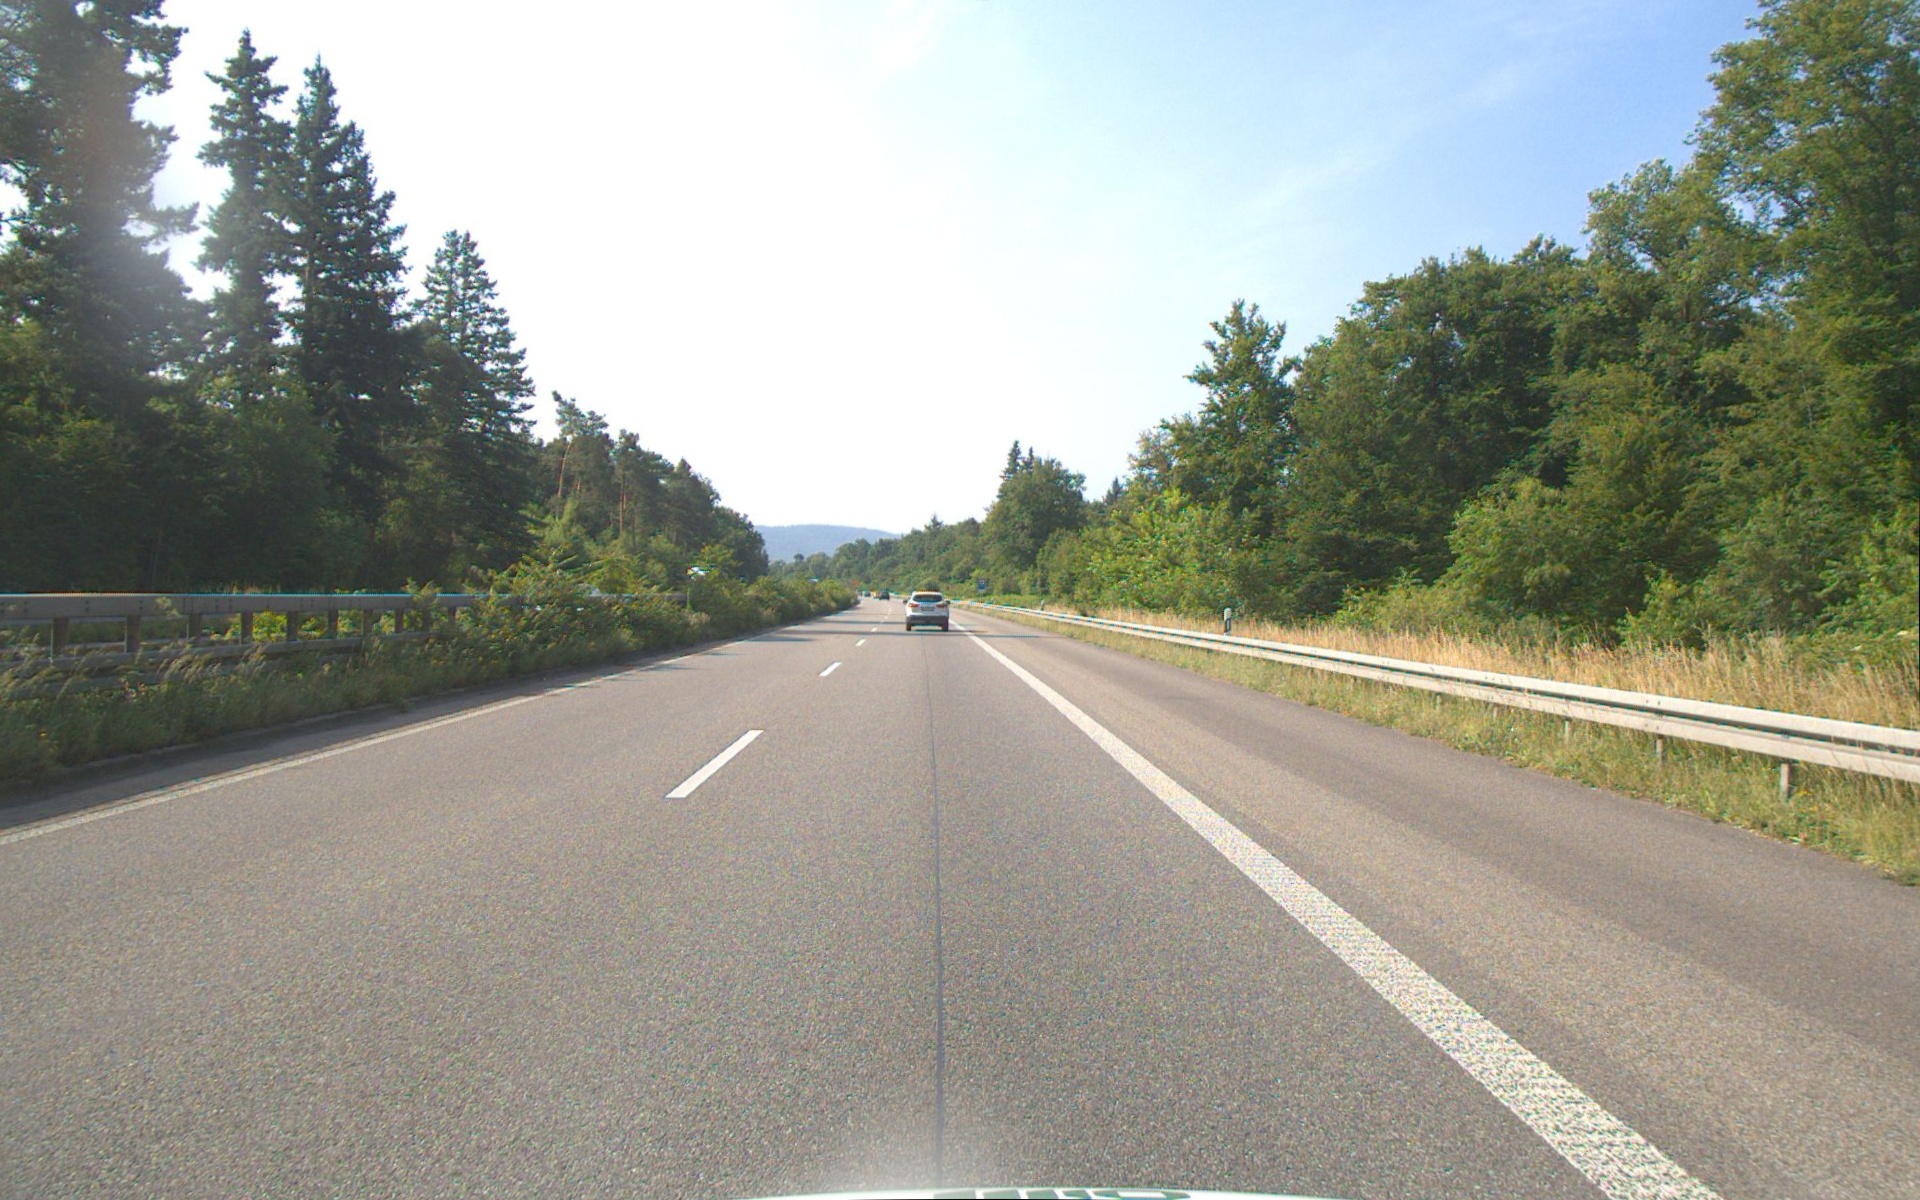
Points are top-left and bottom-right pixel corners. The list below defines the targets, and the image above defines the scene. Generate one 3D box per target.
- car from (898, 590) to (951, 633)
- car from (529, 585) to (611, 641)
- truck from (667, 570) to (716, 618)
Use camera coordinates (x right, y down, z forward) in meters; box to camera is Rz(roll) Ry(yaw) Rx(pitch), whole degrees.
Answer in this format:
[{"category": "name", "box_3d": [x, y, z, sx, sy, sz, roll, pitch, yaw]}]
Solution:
[{"category": "car", "box_3d": [-1.513, 0.464, 68.748, 1.837, 1.614, 3.995, 3, 0, -6]}, {"category": "car", "box_3d": [-11.763, 0.367, 50.034, 1.709, 1.615, 3.664, 1, 0, -2]}, {"category": "truck", "box_3d": [-18.735, -0.391, 115.606, 2.413, 3.232, 7.225, -1, 0, -2]}]
